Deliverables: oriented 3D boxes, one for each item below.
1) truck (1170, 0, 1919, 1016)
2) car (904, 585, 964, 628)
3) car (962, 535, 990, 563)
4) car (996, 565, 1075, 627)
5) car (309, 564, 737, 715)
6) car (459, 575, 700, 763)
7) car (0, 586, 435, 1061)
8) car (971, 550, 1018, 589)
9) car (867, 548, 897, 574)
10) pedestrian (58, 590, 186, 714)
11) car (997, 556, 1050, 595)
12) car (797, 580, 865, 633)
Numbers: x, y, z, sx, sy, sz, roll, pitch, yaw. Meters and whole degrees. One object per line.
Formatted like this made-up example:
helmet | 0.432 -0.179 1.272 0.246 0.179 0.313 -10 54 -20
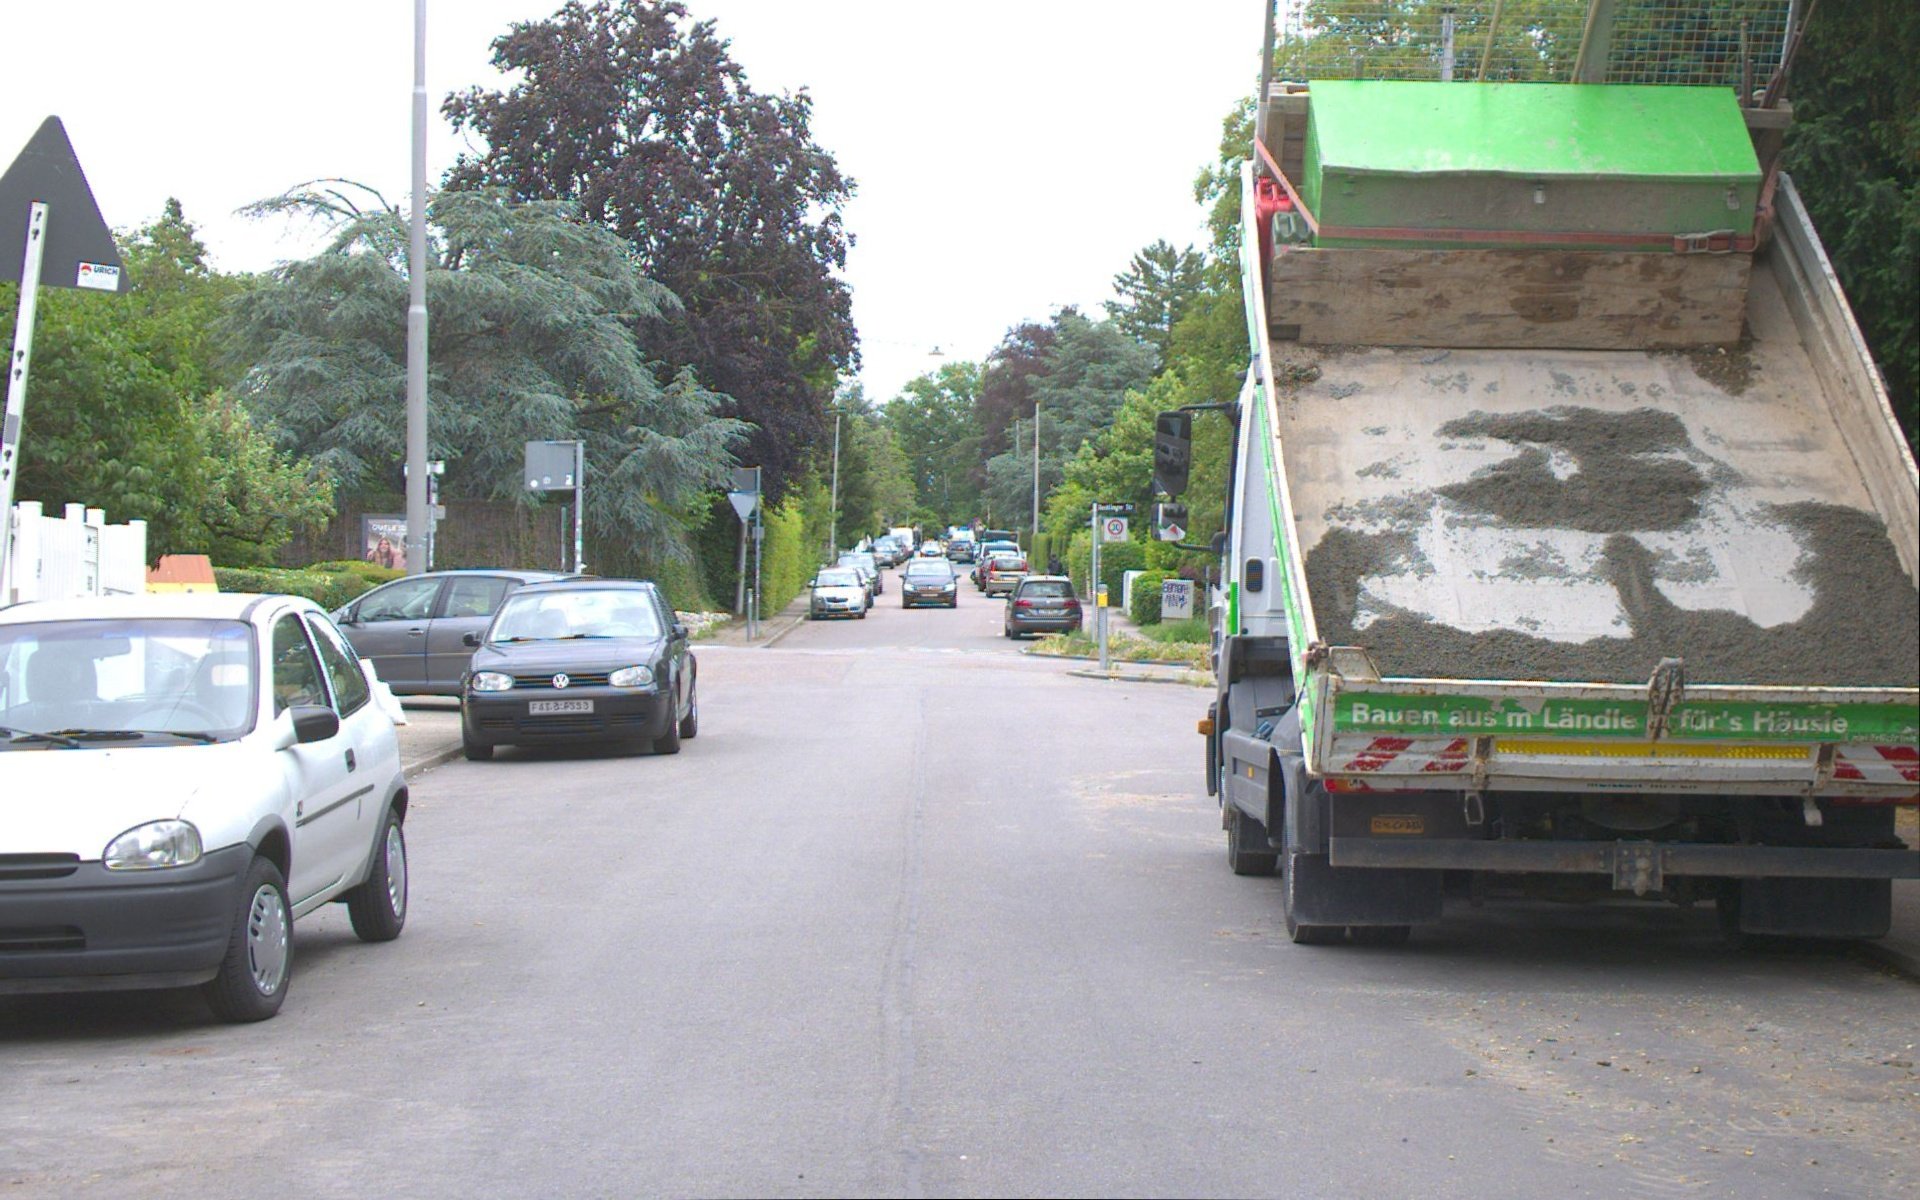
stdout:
truck | 2.452 -0.999 15.298 2.524 4.732 7.187 1 0 0
car | -0.849 0.208 114.350 1.728 1.402 3.803 0 0 4
car | 0.962 -3.101 209.198 1.634 1.695 3.494 1 1 -1
car | 1.846 -0.102 85.111 1.778 1.484 4.000 0 0 -1
car | -4.501 0.379 35.575 3.990 1.439 1.825 1 1 16
car | -3.096 0.517 28.617 1.637 1.390 3.989 -2 1 -2
car | -3.070 0.698 12.663 1.596 1.428 4.000 -2 1 1
car | 1.392 -1.231 137.560 1.789 1.524 3.734 1 1 1
car | -4.394 -2.176 193.590 1.626 1.381 3.598 2 0 -1
pedestrian | -8.404 0.514 34.462 0.946 1.221 0.836 1 -1 -42
car | 2.373 -0.919 128.668 1.810 1.331 3.633 2 2 -1
car | -3.922 0.183 105.048 1.711 1.580 4.000 1 0 2
